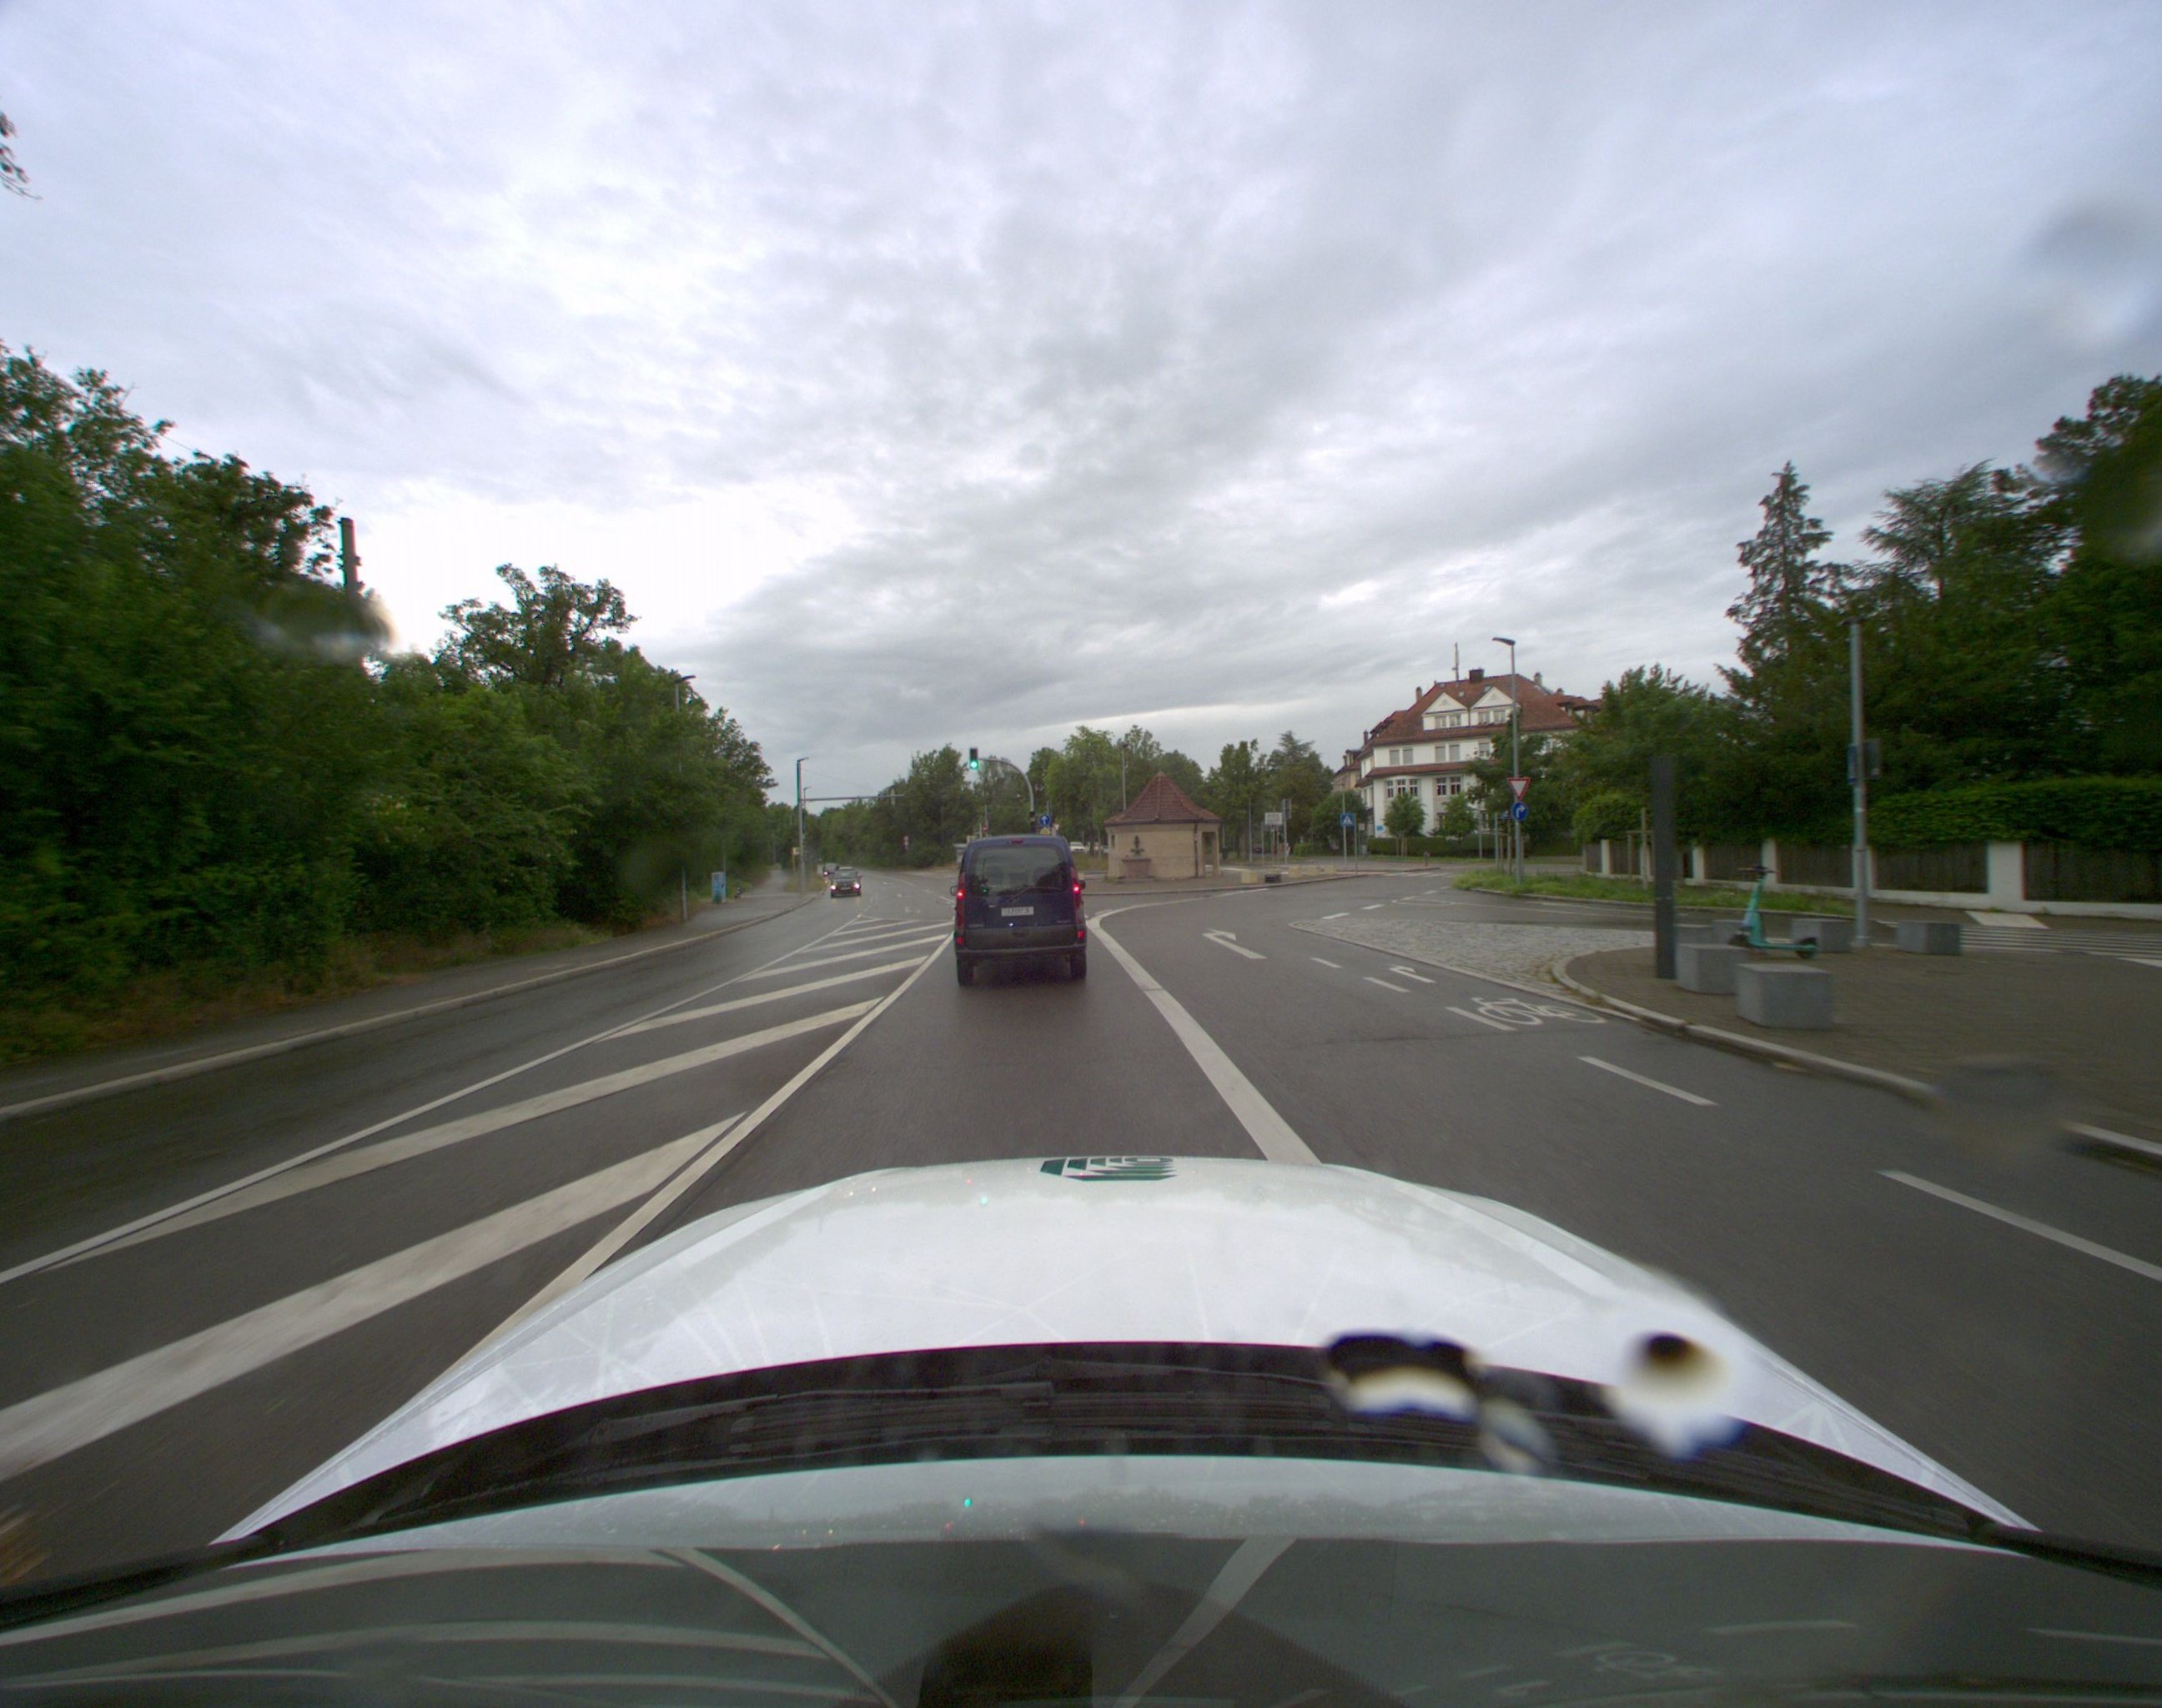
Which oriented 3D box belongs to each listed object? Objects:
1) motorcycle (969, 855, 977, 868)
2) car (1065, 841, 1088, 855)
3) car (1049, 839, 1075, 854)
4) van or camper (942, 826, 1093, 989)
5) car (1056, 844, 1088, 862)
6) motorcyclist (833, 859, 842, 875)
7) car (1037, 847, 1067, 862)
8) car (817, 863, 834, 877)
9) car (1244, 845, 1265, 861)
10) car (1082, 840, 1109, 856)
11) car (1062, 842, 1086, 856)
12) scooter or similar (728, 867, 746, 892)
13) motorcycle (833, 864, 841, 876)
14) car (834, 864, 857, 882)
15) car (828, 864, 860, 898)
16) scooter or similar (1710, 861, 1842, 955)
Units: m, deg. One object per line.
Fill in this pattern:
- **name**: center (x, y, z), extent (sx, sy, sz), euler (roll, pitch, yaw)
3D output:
- **motorcycle**: center (-10.706, 0.728, 80.839), extent (0.587, 1.289, 1.536), euler (-3, 0, -3)
- **car**: center (-0.525, -0.653, 94.874), extent (1.887, 1.480, 4.051), euler (-1, -1, -13)
- **car**: center (-2.168, -0.826, 90.796), extent (1.996, 1.662, 4.452), euler (0, 0, -13)
- **van or camper**: center (-0.919, 0.620, 11.470), extent (1.710, 1.826, 3.992), euler (-2, 0, -6)
- **car**: center (-0.850, -0.073, 76.965), extent (1.998, 1.662, 3.977), euler (0, 0, -17)
- **motorcyclist**: center (-24.412, 1.307, 81.624), extent (0.747, 1.632, 0.923), euler (-3, 0, -14)
- **car**: center (-2.984, 0.059, 82.734), extent (1.998, 1.480, 4.260), euler (0, -1, -17)
- **car**: center (-31.304, 1.906, 99.905), extent (1.793, 1.581, 4.536), euler (-3, 0, -16)
- **car**: center (23.844, -0.150, 112.272), extent (1.987, 2.013, 4.000), euler (-2, 0, 0)
- **car**: center (1.473, -0.613, 84.438), extent (1.887, 1.480, 4.051), euler (0, -1, -12)
- **car**: center (-0.873, -0.640, 100.075), extent (1.996, 1.662, 4.452), euler (0, 0, -13)
- **scooter or similar**: center (-17.905, 1.319, 42.404), extent (0.517, 1.212, 1.464), euler (-2, 0, -10)
- **motorcycle**: center (-24.441, 1.596, 81.717), extent (0.595, 1.050, 1.989), euler (-3, 0, -14)
- **car**: center (-19.590, 1.536, 67.661), extent (1.745, 1.352, 4.185), euler (-4, 1, -17)
- **car**: center (-13.366, 1.508, 46.092), extent (1.579, 1.730, 3.754), euler (-3, 0, -15)
- **scooter or similar**: center (9.269, 0.710, 10.886), extent (1.344, 1.207, 0.524), euler (1, -1, -2)
